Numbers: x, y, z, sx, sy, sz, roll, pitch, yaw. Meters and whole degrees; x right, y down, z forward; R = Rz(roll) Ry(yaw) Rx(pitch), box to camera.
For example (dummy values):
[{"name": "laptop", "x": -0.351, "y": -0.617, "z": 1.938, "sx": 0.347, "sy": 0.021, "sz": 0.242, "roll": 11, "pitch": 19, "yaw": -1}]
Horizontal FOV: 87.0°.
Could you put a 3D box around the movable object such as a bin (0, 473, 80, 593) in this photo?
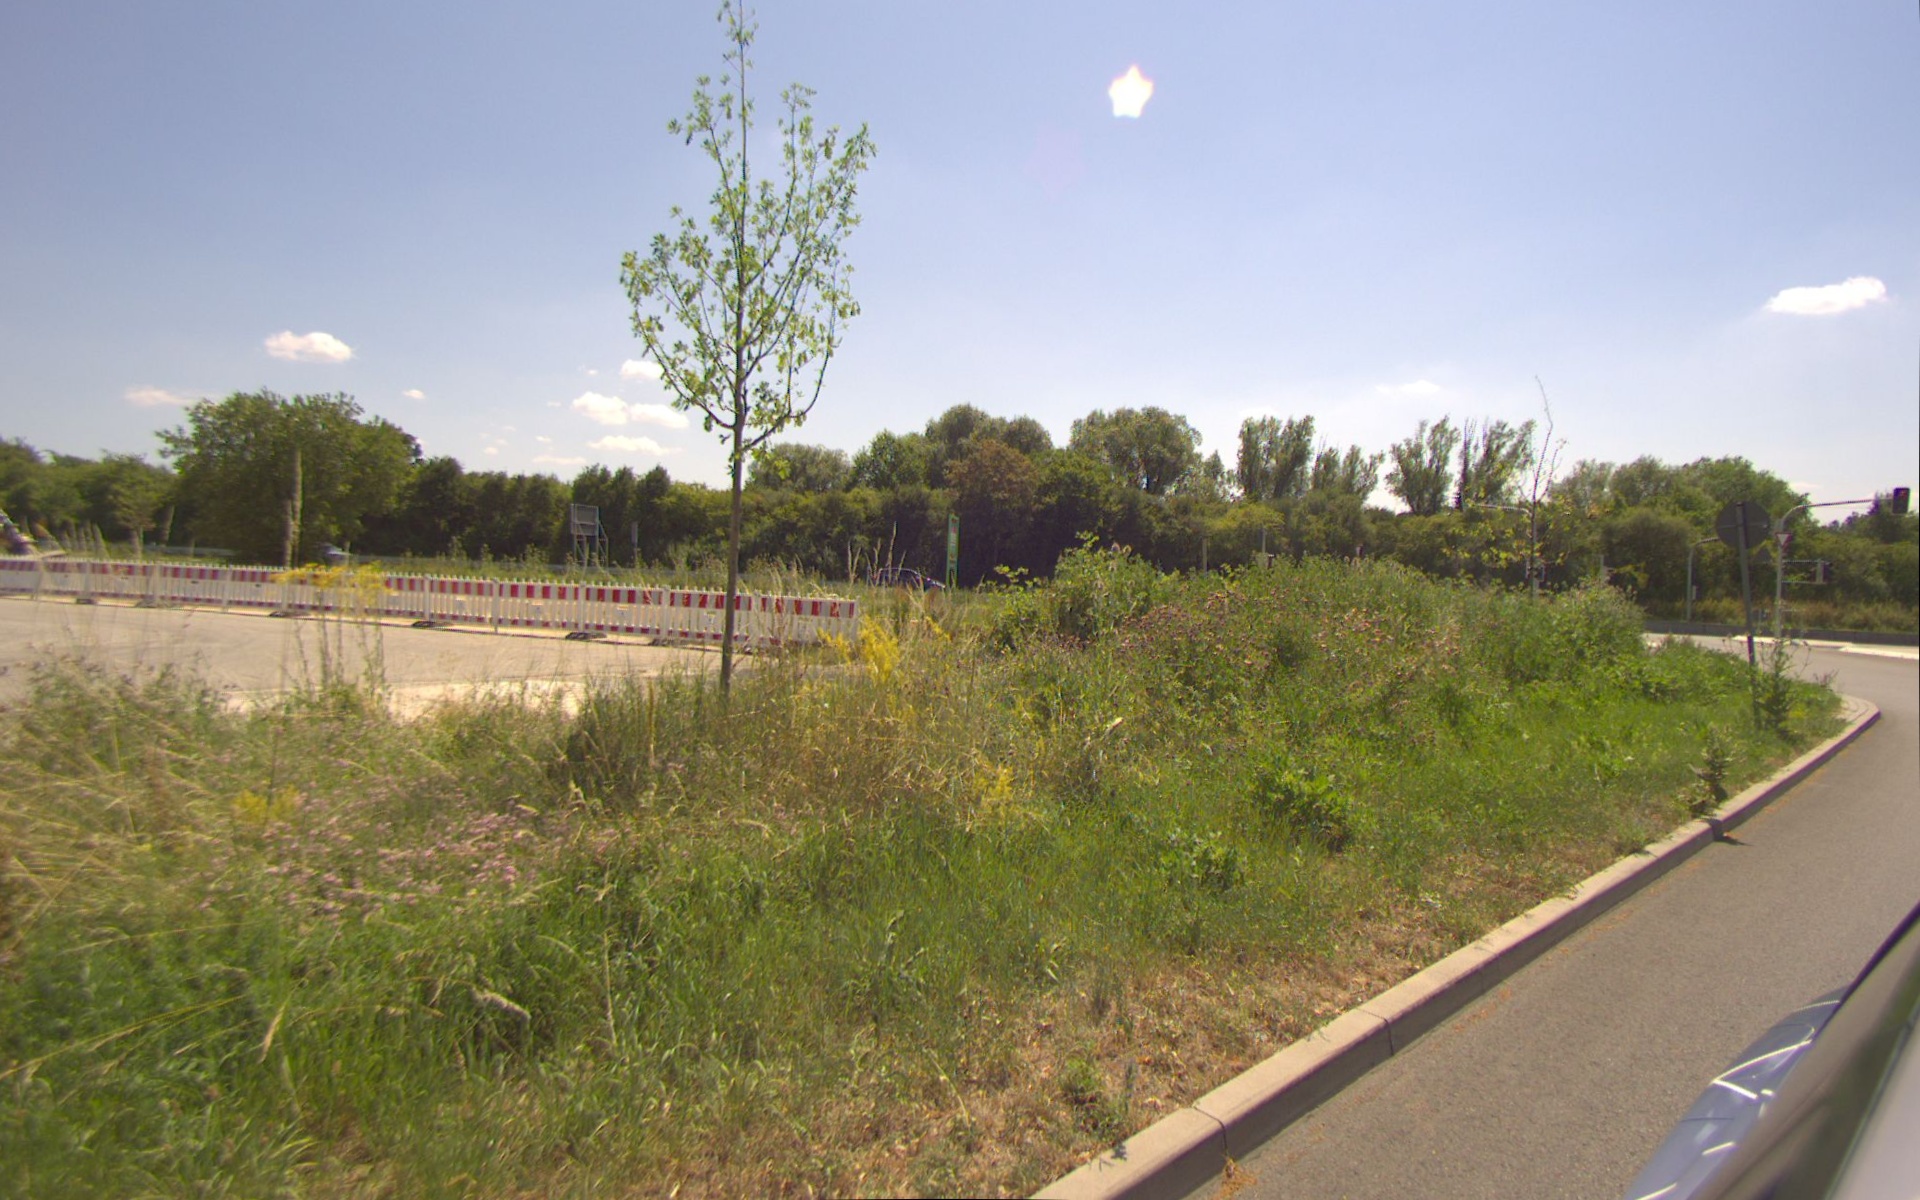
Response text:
[{"name": "movable object such as a bin", "x": -36.530, "y": -2.572, "z": 36.542, "sx": 7.986, "sy": 4.095, "sz": 2.976, "roll": 4, "pitch": 1, "yaw": 14}]

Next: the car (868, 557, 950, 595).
[{"name": "car", "x": -2.567, "y": -1.208, "z": 51.674, "sx": 3.930, "sy": 1.660, "sz": 1.779, "roll": 4, "pitch": 1, "yaw": 5}]
